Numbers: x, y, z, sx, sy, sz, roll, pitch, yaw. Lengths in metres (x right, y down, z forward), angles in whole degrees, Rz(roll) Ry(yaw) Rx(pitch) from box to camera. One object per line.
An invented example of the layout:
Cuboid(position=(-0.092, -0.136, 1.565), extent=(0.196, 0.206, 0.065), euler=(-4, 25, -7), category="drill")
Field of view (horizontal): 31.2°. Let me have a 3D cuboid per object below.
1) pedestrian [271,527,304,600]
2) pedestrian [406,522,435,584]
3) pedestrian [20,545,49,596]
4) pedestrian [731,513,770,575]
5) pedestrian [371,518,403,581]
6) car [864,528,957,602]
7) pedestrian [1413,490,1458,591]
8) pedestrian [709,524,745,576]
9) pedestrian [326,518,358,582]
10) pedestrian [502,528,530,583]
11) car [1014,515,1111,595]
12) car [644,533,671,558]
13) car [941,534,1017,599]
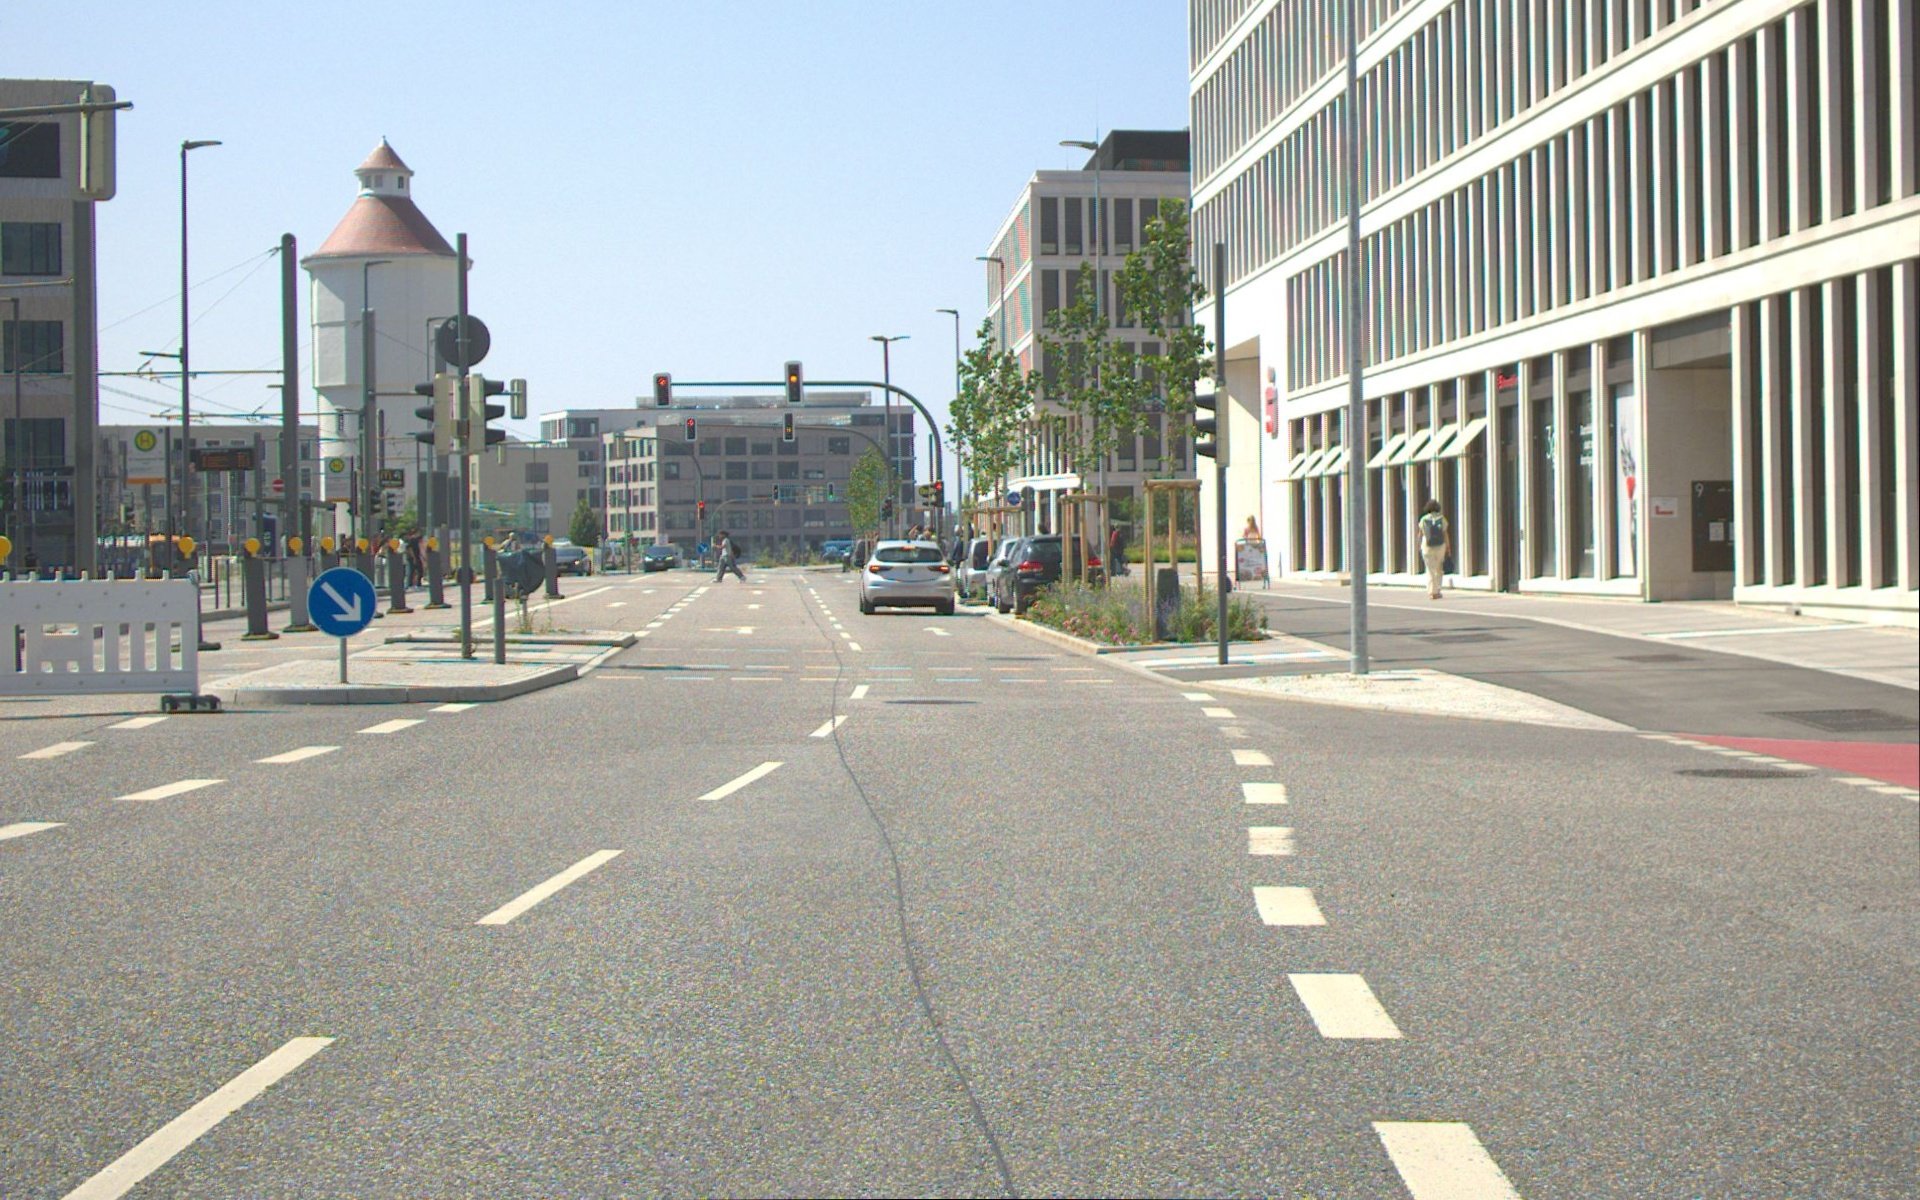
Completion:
Cuboid(position=(-16.850, -0.914, 86.127), extent=(0.662, 1.813, 0.723), euler=(0, 1, -26), category="pedestrian")
Cuboid(position=(-16.745, -1.460, 106.655), extent=(0.766, 1.884, 0.692), euler=(-1, 1, -2), category="pedestrian")
Cuboid(position=(-29.308, -0.936, 108.873), extent=(0.711, 1.566, 0.891), euler=(-1, 1, -3), category="pedestrian")
Cuboid(position=(-6.896, -1.841, 113.101), extent=(1.020, 2.007, 0.954), euler=(-1, 1, -21), category="pedestrian")
Cuboid(position=(-17.244, -1.512, 103.513), extent=(0.887, 1.884, 0.692), euler=(-1, 1, -8), category="pedestrian")
Cuboid(position=(-0.976, -0.674, 67.779), extent=(1.771, 1.390, 3.532), euler=(1, 0, -1), category="car")
Cuboid(position=(8.331, -1.042, 60.243), extent=(0.627, 1.736, 0.814), euler=(-1, 1, -3), category="pedestrian")
Cuboid(position=(-7.623, -1.641, 112.317), extent=(0.893, 1.668, 1.013), euler=(-1, 1, -21), category="pedestrian")
Cuboid(position=(-18.462, -1.506, 102.735), extent=(0.887, 1.884, 0.692), euler=(-1, 1, -8), category="pedestrian")
Cuboid(position=(-14.089, -1.416, 109.097), extent=(0.766, 1.728, 0.692), euler=(-1, 1, -2), category="pedestrian")
Cuboid(position=(1.907, -0.845, 65.030), extent=(1.736, 1.469, 3.980), euler=(0, 1, 0), category="car")
Cuboid(position=(-18.830, -3.367, 214.135), extent=(1.586, 1.525, 3.693), euler=(0, 0, -4), category="car")
Cuboid(position=(0.427, -0.805, 80.414), extent=(1.556, 1.467, 3.470), euler=(-1, 1, -3), category="car")
